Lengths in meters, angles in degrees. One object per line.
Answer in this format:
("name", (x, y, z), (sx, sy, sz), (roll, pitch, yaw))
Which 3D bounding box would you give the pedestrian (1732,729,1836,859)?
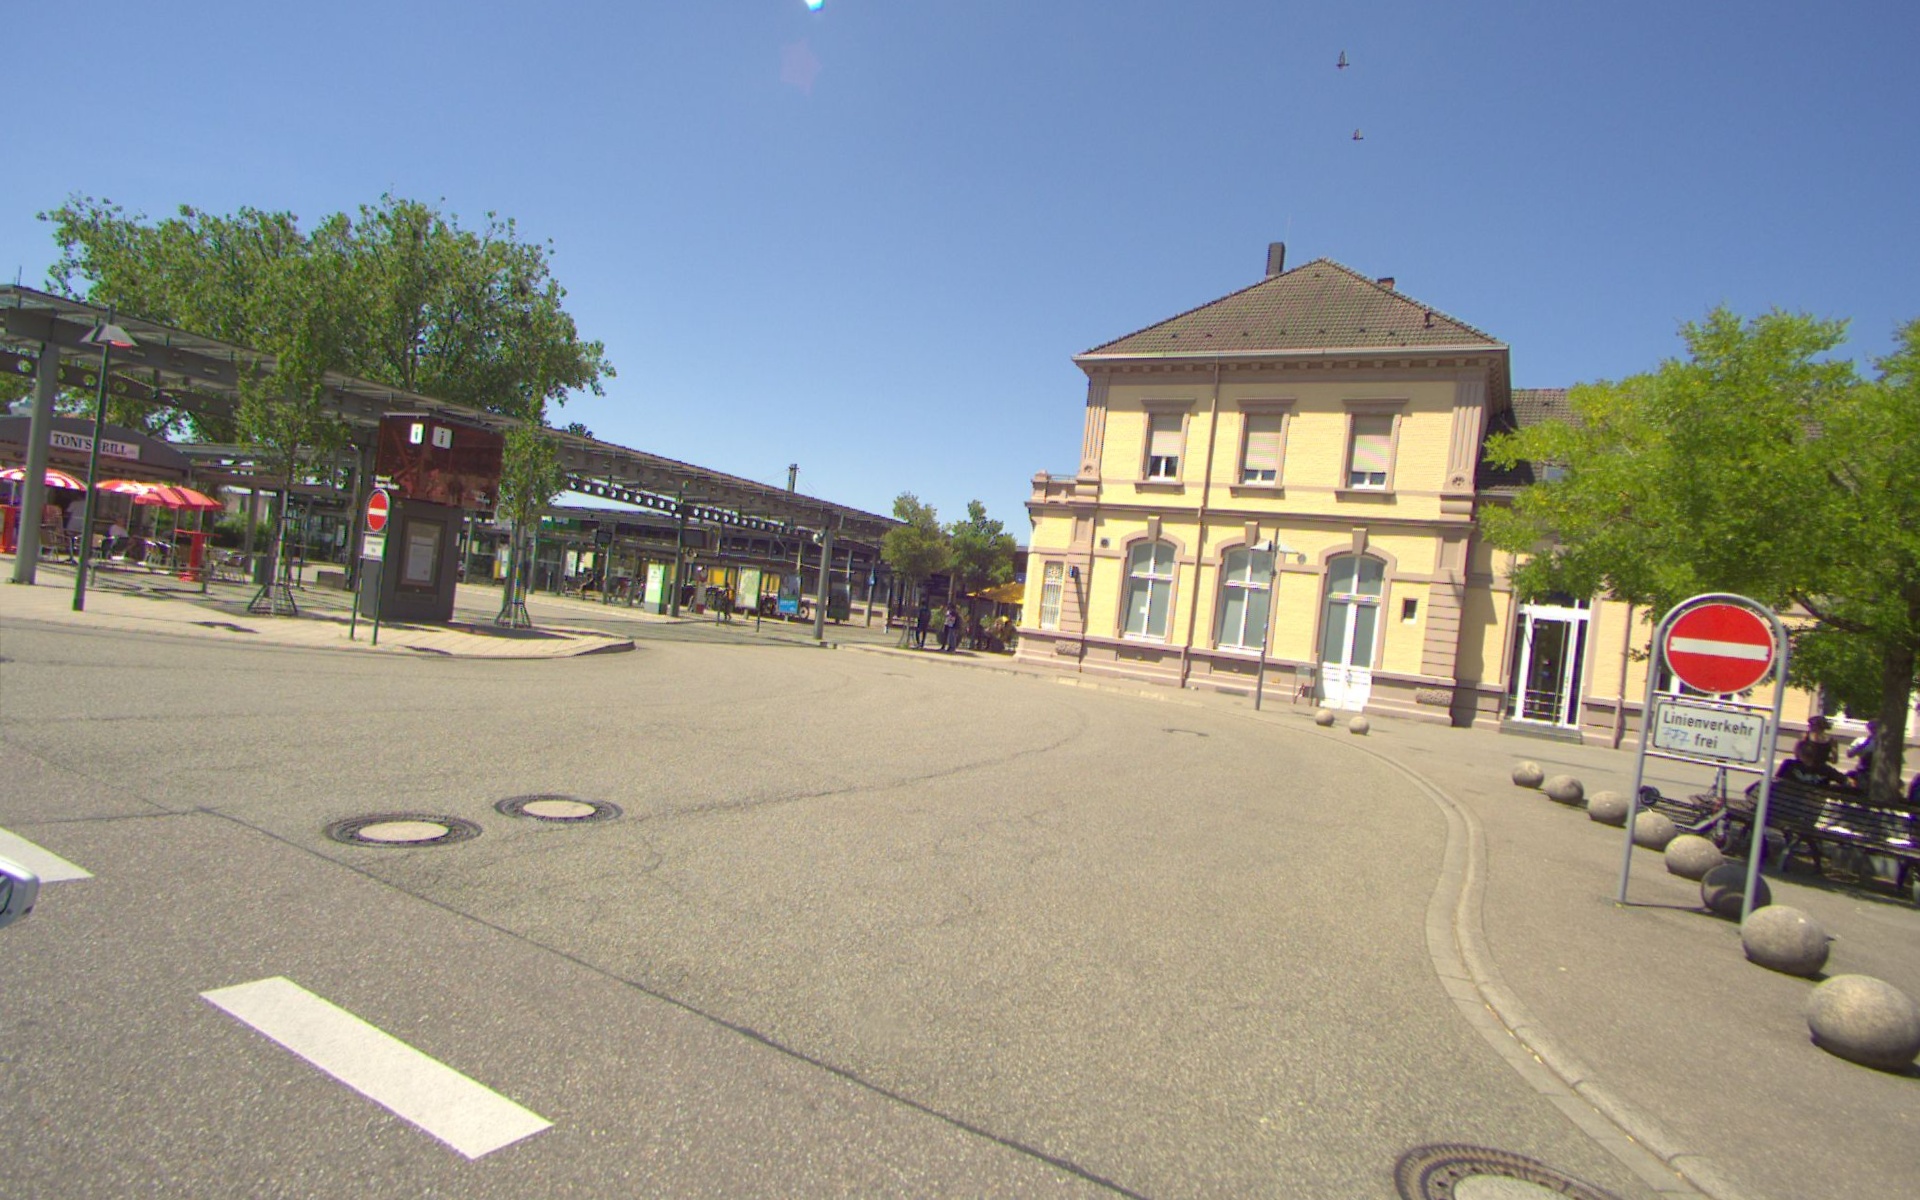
("pedestrian", (9.806, 2.292, 11.992), (0.588, 1.381, 0.599), (7, 0, 2))

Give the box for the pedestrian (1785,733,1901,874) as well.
("pedestrian", (9.712, 2.222, 11.089), (0.588, 1.381, 0.599), (7, 0, 2))

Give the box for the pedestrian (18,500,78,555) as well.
("pedestrian", (-24.481, -1.936, 27.019), (0.676, 1.328, 0.894), (7, 0, -4))

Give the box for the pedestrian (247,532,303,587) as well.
("pedestrian", (-18.087, -1.071, 26.563), (0.881, 1.293, 0.846), (7, 0, 34))

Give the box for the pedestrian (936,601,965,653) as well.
("pedestrian", (-0.358, 0.984, 37.070), (0.627, 1.831, 0.590), (7, 0, -39))

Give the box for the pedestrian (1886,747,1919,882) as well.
("pedestrian", (10.855, 2.386, 10.752), (0.926, 1.403, 0.913), (7, 0, 0))

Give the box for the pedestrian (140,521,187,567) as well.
("pedestrian", (-23.775, -1.668, 30.044), (0.725, 1.218, 0.761), (6, -3, 30))

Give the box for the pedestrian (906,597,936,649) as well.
("pedestrian", (-1.455, 0.845, 37.356), (0.685, 1.831, 0.625), (7, 0, -39))

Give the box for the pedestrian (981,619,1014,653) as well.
("pedestrian", (1.629, 1.551, 44.037), (1.038, 1.371, 0.971), (4, 1, -26))

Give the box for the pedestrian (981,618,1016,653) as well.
("pedestrian", (1.643, 1.499, 42.520), (1.035, 1.371, 0.974), (5, 1, 32))

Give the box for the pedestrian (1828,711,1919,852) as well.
("pedestrian", (12.115, 2.379, 13.324), (0.580, 1.705, 0.619), (7, 0, 18))

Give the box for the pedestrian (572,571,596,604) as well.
("pedestrian", (-17.105, -0.579, 45.726), (0.665, 1.412, 0.625), (6, 1, 30))

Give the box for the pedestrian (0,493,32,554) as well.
("pedestrian", (-23.850, -1.921, 24.968), (0.676, 1.435, 0.894), (7, 0, -7))

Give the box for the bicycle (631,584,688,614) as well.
("bicycle", (-14.177, -0.043, 47.541), (0.797, 1.014, 2.796), (6, -4, 28))

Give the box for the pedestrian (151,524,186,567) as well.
("pedestrian", (-24.319, -1.664, 30.927), (0.654, 1.218, 0.585), (10, -3, -44))

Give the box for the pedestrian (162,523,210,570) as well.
("pedestrian", (-22.676, -1.558, 29.464), (0.725, 1.218, 0.761), (6, -3, 30))

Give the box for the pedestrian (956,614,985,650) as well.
("pedestrian", (0.448, 1.309, 41.700), (0.958, 1.371, 1.052), (5, 1, 9))

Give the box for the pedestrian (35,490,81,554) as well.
("pedestrian", (-26.682, -2.295, 29.766), (0.695, 1.759, 0.687), (7, 0, 30))

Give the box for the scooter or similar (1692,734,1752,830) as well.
("scooter or similar", (10.213, 2.417, 13.506), (0.289, 1.153, 1.028), (6, -1, 22))

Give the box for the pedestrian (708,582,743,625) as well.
("pedestrian", (-9.673, 0.142, 41.593), (0.842, 1.609, 0.924), (7, 0, 31))

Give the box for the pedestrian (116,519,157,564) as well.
("pedestrian", (-24.723, -1.763, 30.219), (0.582, 1.218, 0.657), (6, -3, 29))

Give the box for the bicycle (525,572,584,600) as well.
("bicycle", (-20.466, -0.675, 50.844), (0.797, 1.014, 2.796), (6, -4, 28))

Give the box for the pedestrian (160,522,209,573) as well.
("pedestrian", (-20.269, -1.368, 26.283), (0.881, 1.175, 0.687), (7, 0, 34))

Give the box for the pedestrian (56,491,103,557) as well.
("pedestrian", (-25.396, -2.192, 29.021), (0.695, 1.758, 0.687), (6, 0, 30))

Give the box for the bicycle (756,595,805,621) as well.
("bicycle", (-9.488, 0.426, 53.304), (0.950, 1.014, 2.796), (6, -4, 28))

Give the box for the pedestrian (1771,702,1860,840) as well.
("pedestrian", (11.392, 2.254, 13.417), (0.576, 1.705, 0.555), (7, 0, 18))

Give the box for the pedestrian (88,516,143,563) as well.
("pedestrian", (-23.694, -1.677, 28.241), (0.676, 1.175, 0.894), (7, 0, -4))

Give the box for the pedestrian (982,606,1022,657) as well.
("pedestrian", (1.690, 1.270, 40.336), (1.064, 1.869, 1.082), (7, 0, 28))

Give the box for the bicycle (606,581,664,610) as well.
("bicycle", (-15.466, -0.190, 47.942), (0.797, 1.014, 2.796), (6, -4, 28))

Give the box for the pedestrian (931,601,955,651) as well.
("pedestrian", (-0.642, 0.975, 38.093), (0.547, 1.831, 0.493), (7, 0, -40))
